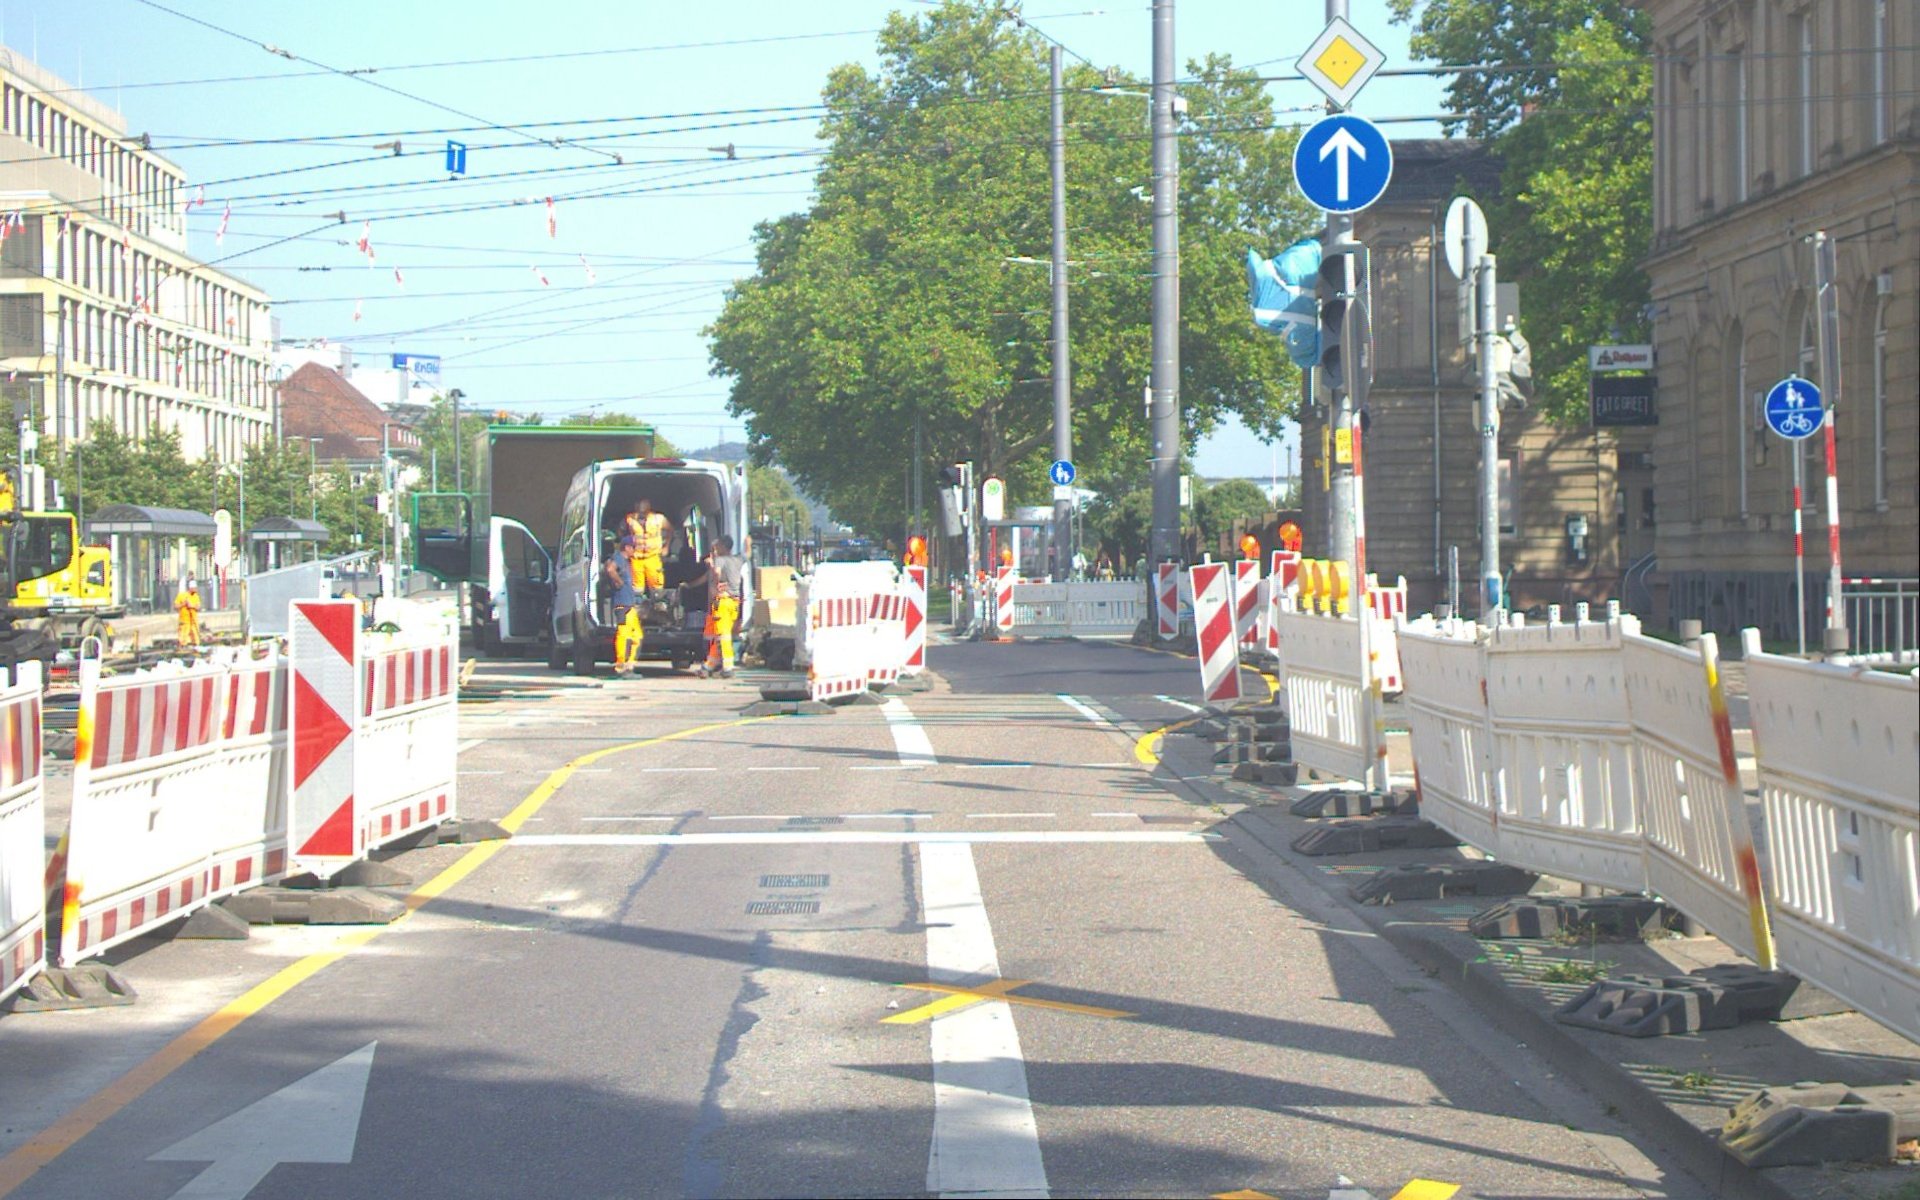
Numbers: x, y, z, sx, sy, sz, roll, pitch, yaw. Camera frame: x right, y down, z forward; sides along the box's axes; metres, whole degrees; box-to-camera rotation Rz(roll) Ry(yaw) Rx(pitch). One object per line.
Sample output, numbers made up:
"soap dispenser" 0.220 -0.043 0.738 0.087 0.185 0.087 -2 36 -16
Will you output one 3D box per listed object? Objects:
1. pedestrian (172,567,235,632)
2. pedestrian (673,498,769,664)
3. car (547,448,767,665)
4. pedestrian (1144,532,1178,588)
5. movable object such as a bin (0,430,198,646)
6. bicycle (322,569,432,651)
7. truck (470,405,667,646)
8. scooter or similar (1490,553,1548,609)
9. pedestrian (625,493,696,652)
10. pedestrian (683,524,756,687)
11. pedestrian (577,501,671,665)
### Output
"pedestrian" -15.523 -0.016 70.547 1.015 1.302 0.982 -1 1 2
"pedestrian" -2.930 -0.237 42.195 0.735 2.007 0.905 -1 0 32
"car" -4.134 -0.573 46.048 2.224 2.720 5.172 -1 0 -13
"pedestrian" 6.311 -1.259 108.085 0.819 1.680 1.012 -6 1 -1
"movable object such as a bin" -18.773 -1.176 65.880 3.508 3.999 9.031 -1 1 23
"bicycle" -8.255 0.142 48.656 1.660 1.133 0.616 0 0 41
"truck" -6.585 -1.207 56.912 2.673 3.666 8.216 -1 1 -10
"scooter or similar" 12.619 -0.437 77.615 1.251 1.206 0.423 -3 3 -26
"pedestrian" -3.844 -0.351 44.241 0.734 2.007 0.907 -1 0 4
"pedestrian" -3.017 0.064 43.161 0.734 2.007 0.907 -1 0 6
"pedestrian" -4.186 -0.213 42.861 0.735 2.007 0.906 -1 0 31
